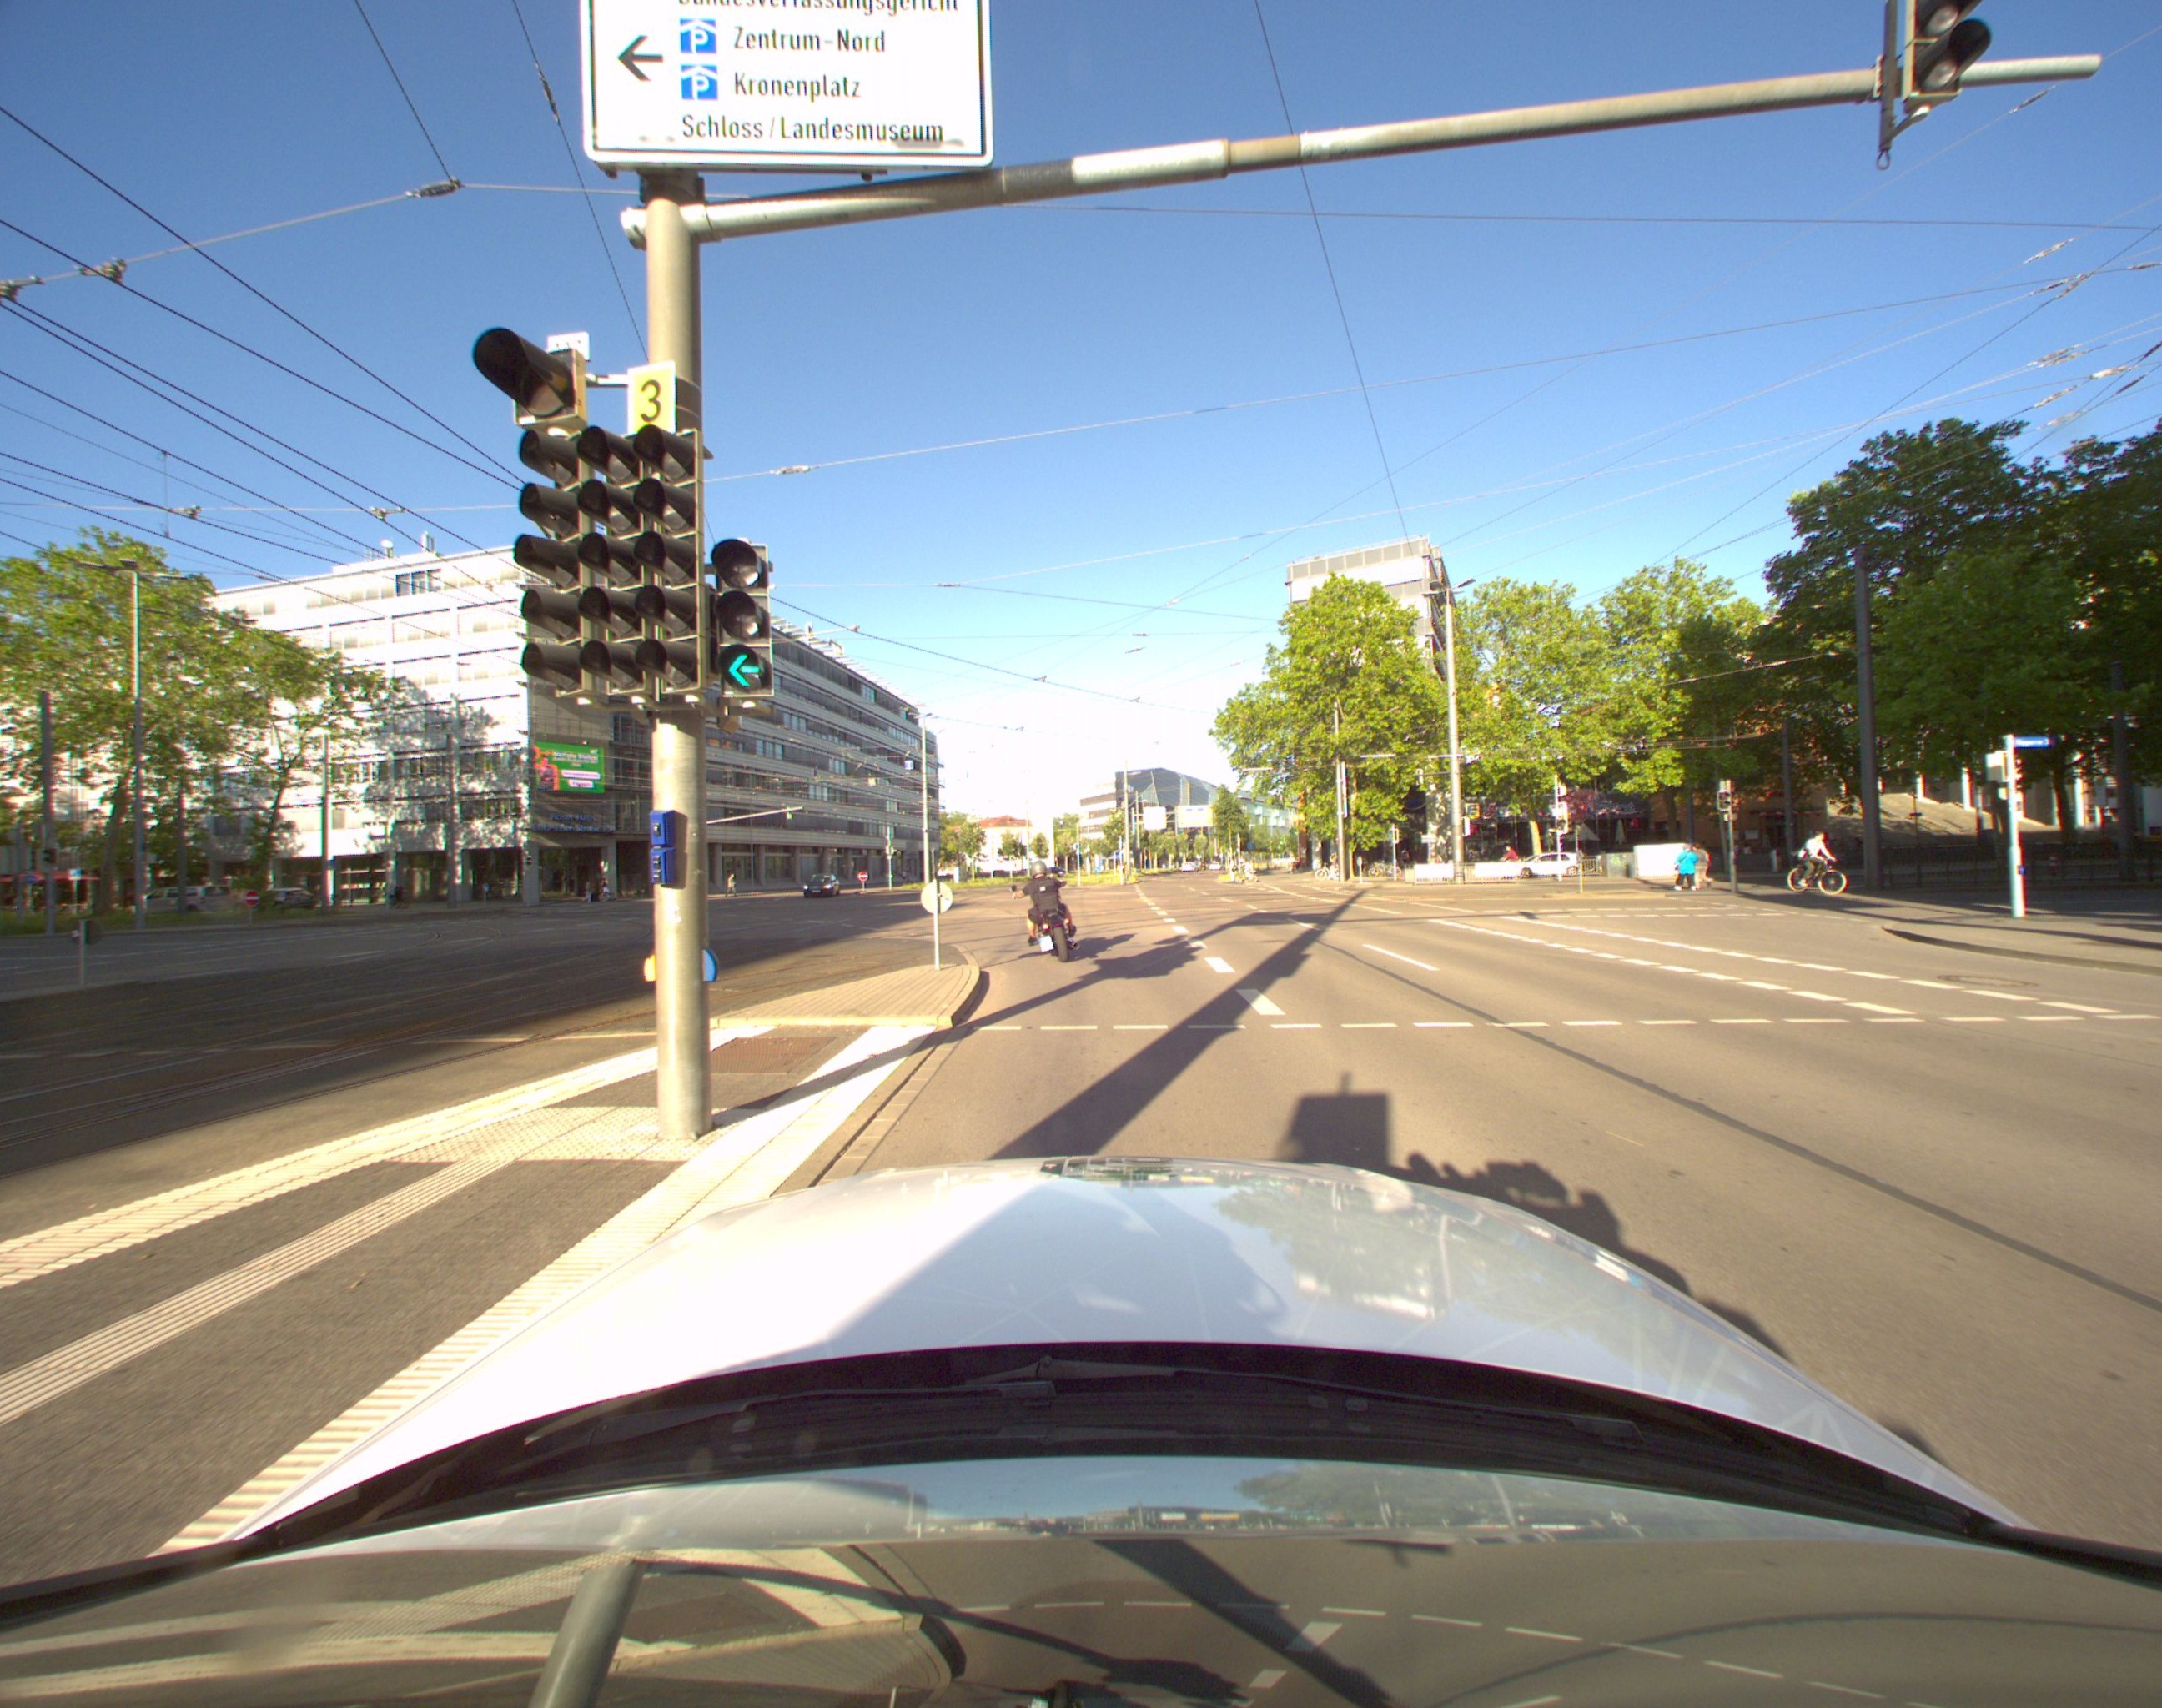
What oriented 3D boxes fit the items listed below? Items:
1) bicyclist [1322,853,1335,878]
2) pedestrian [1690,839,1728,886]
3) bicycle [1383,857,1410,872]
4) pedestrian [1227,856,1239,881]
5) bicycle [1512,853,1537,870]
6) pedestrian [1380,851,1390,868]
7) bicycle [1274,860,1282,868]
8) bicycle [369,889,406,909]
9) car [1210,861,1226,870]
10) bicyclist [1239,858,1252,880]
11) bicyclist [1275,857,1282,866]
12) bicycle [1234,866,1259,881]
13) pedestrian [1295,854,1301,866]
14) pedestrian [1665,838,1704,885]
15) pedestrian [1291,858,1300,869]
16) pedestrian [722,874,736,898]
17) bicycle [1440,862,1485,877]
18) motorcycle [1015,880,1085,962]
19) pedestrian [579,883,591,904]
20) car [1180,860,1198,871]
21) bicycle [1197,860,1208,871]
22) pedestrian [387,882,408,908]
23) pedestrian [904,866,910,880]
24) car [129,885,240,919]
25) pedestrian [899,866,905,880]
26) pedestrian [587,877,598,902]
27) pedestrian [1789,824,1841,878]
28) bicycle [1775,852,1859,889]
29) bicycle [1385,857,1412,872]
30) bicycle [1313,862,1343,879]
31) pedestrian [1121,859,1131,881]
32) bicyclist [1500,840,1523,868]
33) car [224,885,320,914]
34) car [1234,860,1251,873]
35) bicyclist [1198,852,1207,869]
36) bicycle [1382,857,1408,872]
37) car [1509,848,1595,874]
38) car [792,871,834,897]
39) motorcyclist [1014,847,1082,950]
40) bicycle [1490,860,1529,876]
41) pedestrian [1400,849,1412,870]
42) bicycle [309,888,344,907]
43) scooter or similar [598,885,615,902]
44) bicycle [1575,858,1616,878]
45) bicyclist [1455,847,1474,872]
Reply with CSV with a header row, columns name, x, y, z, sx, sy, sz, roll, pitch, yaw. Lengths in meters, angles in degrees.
name,x,y,z,sx,sy,sz,roll,pitch,yaw
bicyclist,16.832,0.784,55.469,0.737,1.694,0.572,-2,-1,13
pedestrian,20.730,0.275,26.888,0.649,1.540,0.741,0,-1,-6
bicycle,21.875,0.743,56.494,1.692,0.986,0.392,-2,-1,15
pedestrian,11.118,1.067,59.595,0.693,1.837,0.518,-1,-2,37
bicycle,31.902,0.550,58.571,0.866,1.091,2.951,-2,0,43
pedestrian,27.218,0.507,72.850,0.769,1.527,0.567,-2,-1,24
bicycle,28.564,1.435,118.039,1.033,1.133,3.192,-2,-1,14
bicycle,-44.166,2.872,51.877,1.834,1.163,0.613,-1,2,3
car,23.254,1.989,137.854,1.999,1.376,4.058,-2,-1,19
bicyclist,11.644,1.060,57.592,0.736,1.503,0.573,-3,-2,26
bicyclist,28.535,1.080,117.723,1.033,1.381,1.570,-2,-1,13
bicycle,11.690,1.394,57.566,1.612,1.021,0.519,-3,-2,26
pedestrian,27.677,0.755,103.694,0.700,1.569,0.625,-2,-1,14
pedestrian,19.835,0.243,26.772,0.674,1.540,0.741,0,-1,-6
pedestrian,21.288,0.972,80.789,0.777,1.057,0.818,-2,-1,24
pedestrian,-26.975,2.454,62.405,0.680,1.823,0.875,-2,-2,-37
bicycle,29.460,1.205,62.877,3.011,1.113,0.840,-2,-1,32
motorcycle,-0.539,1.011,13.056,1.004,1.125,2.319,0,-1,-5
pedestrian,-34.080,2.702,55.987,0.640,1.402,0.541,-1,-1,-28
car,15.609,1.672,117.554,1.887,1.508,4.017,-1,-1,16
bicycle,19.198,1.760,128.370,1.007,1.580,3.592,-2,-1,20
pedestrian,-44.030,2.620,52.471,0.831,1.611,0.607,-1,2,4
pedestrian,-22.418,2.413,104.854,0.545,1.733,0.643,-2,-1,7
car,-56.538,3.022,51.427,4.888,1.843,1.930,-2,1,2
pedestrian,-23.026,2.419,104.937,0.545,1.733,0.643,-2,-1,7
pedestrian,-34.198,2.476,57.031,0.640,1.708,0.576,-1,-1,-28
pedestrian,21.955,-0.074,24.366,0.767,1.594,0.838,0,-1,1
bicycle,21.947,0.492,24.328,0.786,1.052,1.923,0,-1,2
bicycle,21.684,0.698,55.653,1.692,0.986,0.392,-2,-1,15
bicycle,16.810,1.124,55.461,1.840,1.021,0.518,-2,-1,12
pedestrian,3.253,1.182,59.314,0.654,1.582,0.490,-1,0,5
bicyclist,24.693,0.006,46.711,0.921,1.615,0.638,-2,-1,5
car,-51.160,2.888,51.528,4.378,1.572,1.869,-2,2,5
car,25.209,1.964,126.985,2.036,1.874,4.247,-1,-1,19
bicyclist,19.193,0.993,128.338,1.007,2.624,1.479,-2,-1,19
bicycle,22.123,0.715,57.400,1.692,0.986,0.392,-2,-1,15
car,27.939,0.439,48.381,3.967,1.486,2.003,-1,-1,5
car,-17.100,1.886,51.836,1.802,1.466,4.272,-2,0,-28
motorcyclist,-0.547,0.676,13.039,1.021,1.552,1.284,0,-1,-5
bicycle,24.560,0.804,46.692,1.844,0.910,0.653,-2,-1,5
pedestrian,27.899,0.464,69.924,0.839,1.852,0.814,0,-1,26
bicycle,-51.804,2.983,55.913,0.466,1.151,1.843,-1,1,9
scooter or similar,-33.462,2.753,57.428,1.021,1.129,0.545,-1,-1,-28
bicycle,34.216,0.903,54.171,2.938,1.235,0.870,-2,0,-26
bicyclist,29.569,0.434,62.797,1.214,1.931,0.840,-2,-1,32
